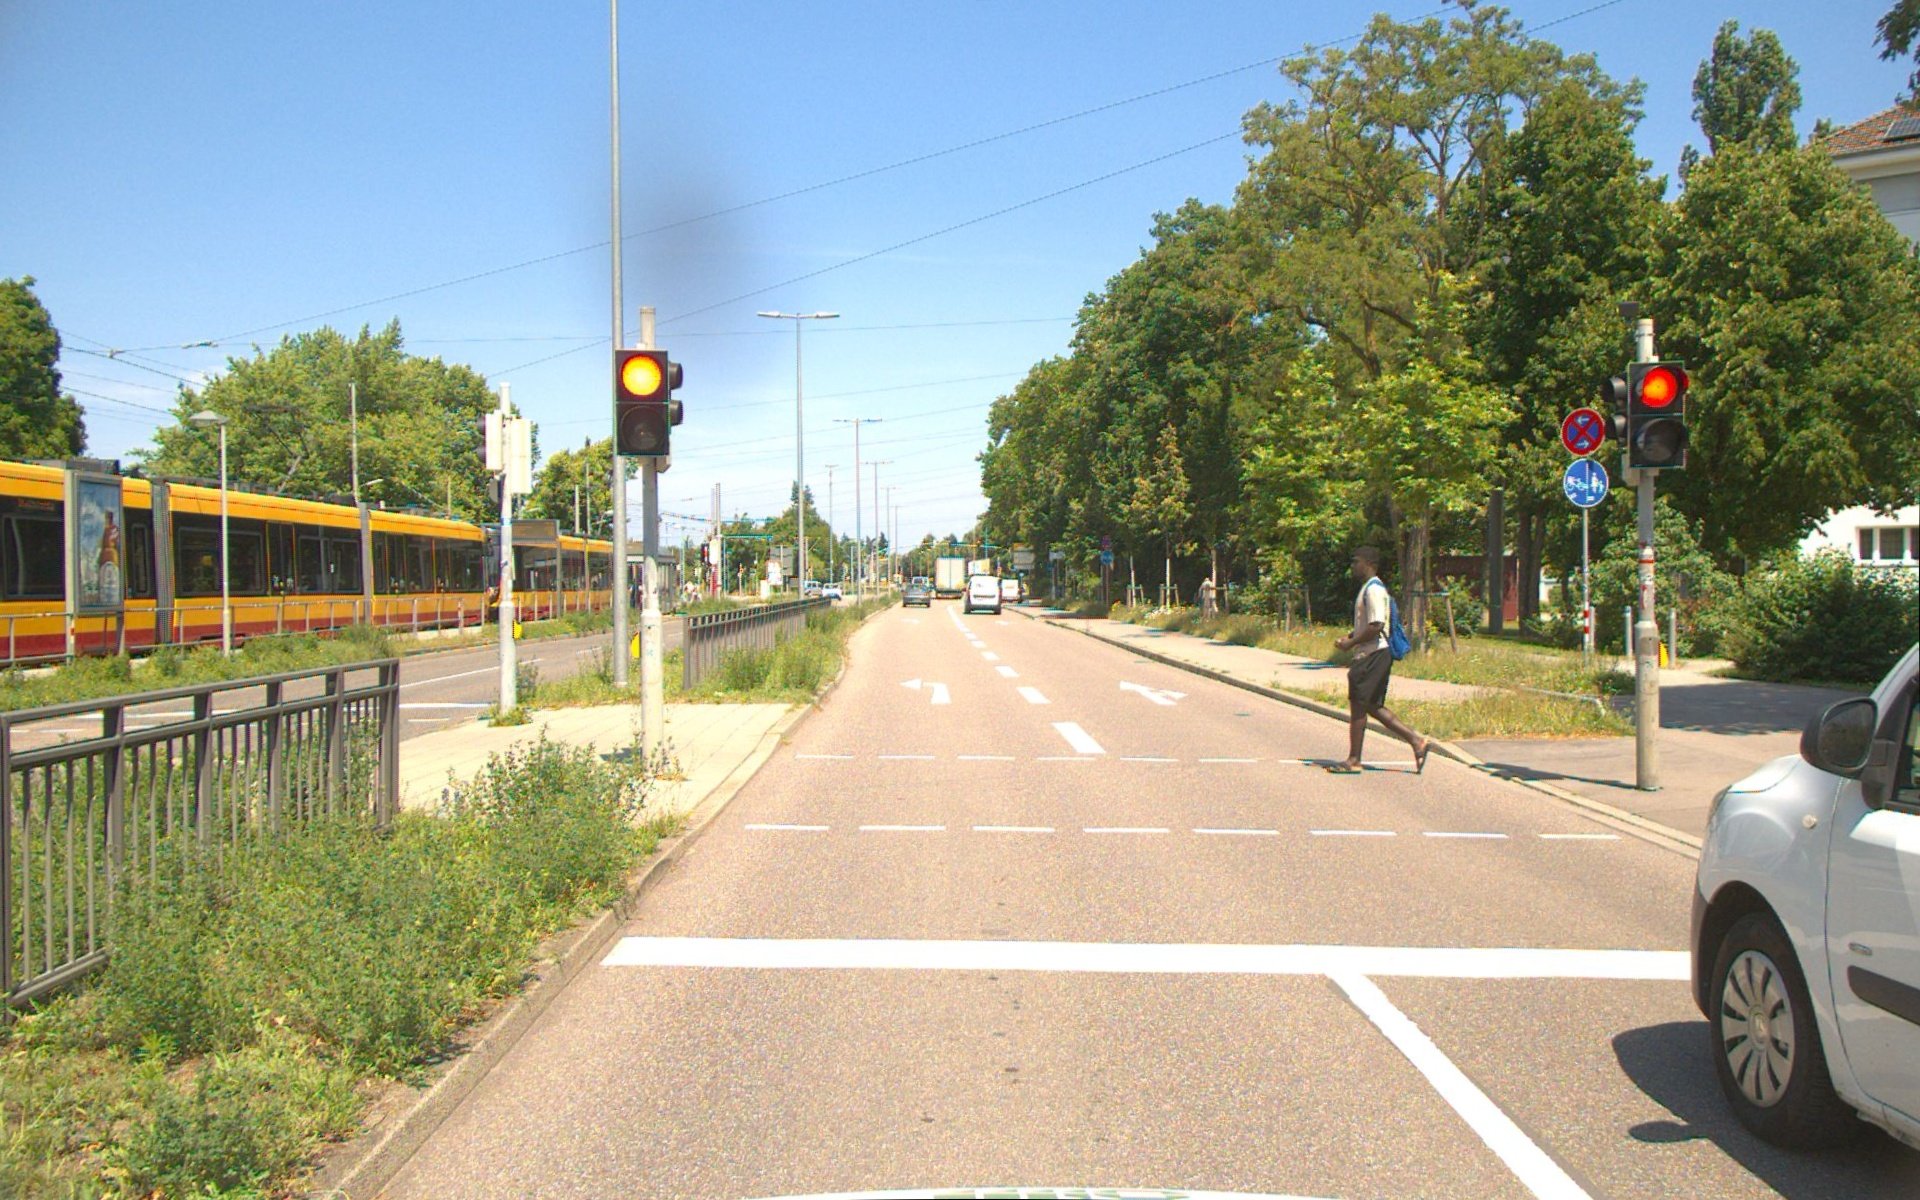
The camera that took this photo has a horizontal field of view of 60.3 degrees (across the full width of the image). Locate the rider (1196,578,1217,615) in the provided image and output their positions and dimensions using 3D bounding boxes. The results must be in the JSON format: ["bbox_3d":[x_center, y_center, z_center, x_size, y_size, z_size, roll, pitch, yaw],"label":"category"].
[{"bbox_3d":[8.923,-0.130,59.947,0.664,1.304,0.533,0,0,-2],"label":"rider"}]

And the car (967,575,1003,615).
[{"bbox_3d":[1.206,-0.273,80.464,1.692,1.845,4.001,1,1,1],"label":"car"}]

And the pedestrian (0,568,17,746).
[{"bbox_3d":[-10.397,0.587,17.135,0.939,1.828,0.704,0,0,28],"label":"pedestrian"}]

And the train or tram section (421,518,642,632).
[{"bbox_3d":[-16.575,-0.939,67.345,2.731,3.732,25.993,0,1,-1],"label":"train or tram section"}]

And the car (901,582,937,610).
[{"bbox_3d":[-2.451,-0.287,99.314,1.764,1.511,4.002,4,1,3],"label":"car"}]

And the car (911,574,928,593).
[{"bbox_3d":[-4.125,-1.649,168.118,1.653,1.930,3.869,0,1,-1],"label":"car"}]

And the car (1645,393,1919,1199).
[{"bbox_3d":[3.115,0.498,3.086,1.787,1.914,4.455,1,1,0],"label":"car"}]

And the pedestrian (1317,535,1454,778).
[{"bbox_3d":[3.420,0.432,13.339,1.024,1.882,0.758,1,0,14],"label":"pedestrian"}]

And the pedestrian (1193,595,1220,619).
[{"bbox_3d":[8.931,0.251,59.956,0.664,0.862,1.773,0,0,-1],"label":"pedestrian"}]

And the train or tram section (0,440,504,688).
[{"bbox_3d":[-15.998,-0.642,35.591,2.731,3.732,37.510,0,1,-1],"label":"train or tram section"}]

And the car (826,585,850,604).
[{"bbox_3d":[-10.911,-0.520,148.247,1.953,1.678,3.999,0,1,-1],"label":"car"}]

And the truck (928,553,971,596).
[{"bbox_3d":[-1.050,-2.324,151.983,3.820,3.879,10.790,0,1,-1],"label":"truck"}]
